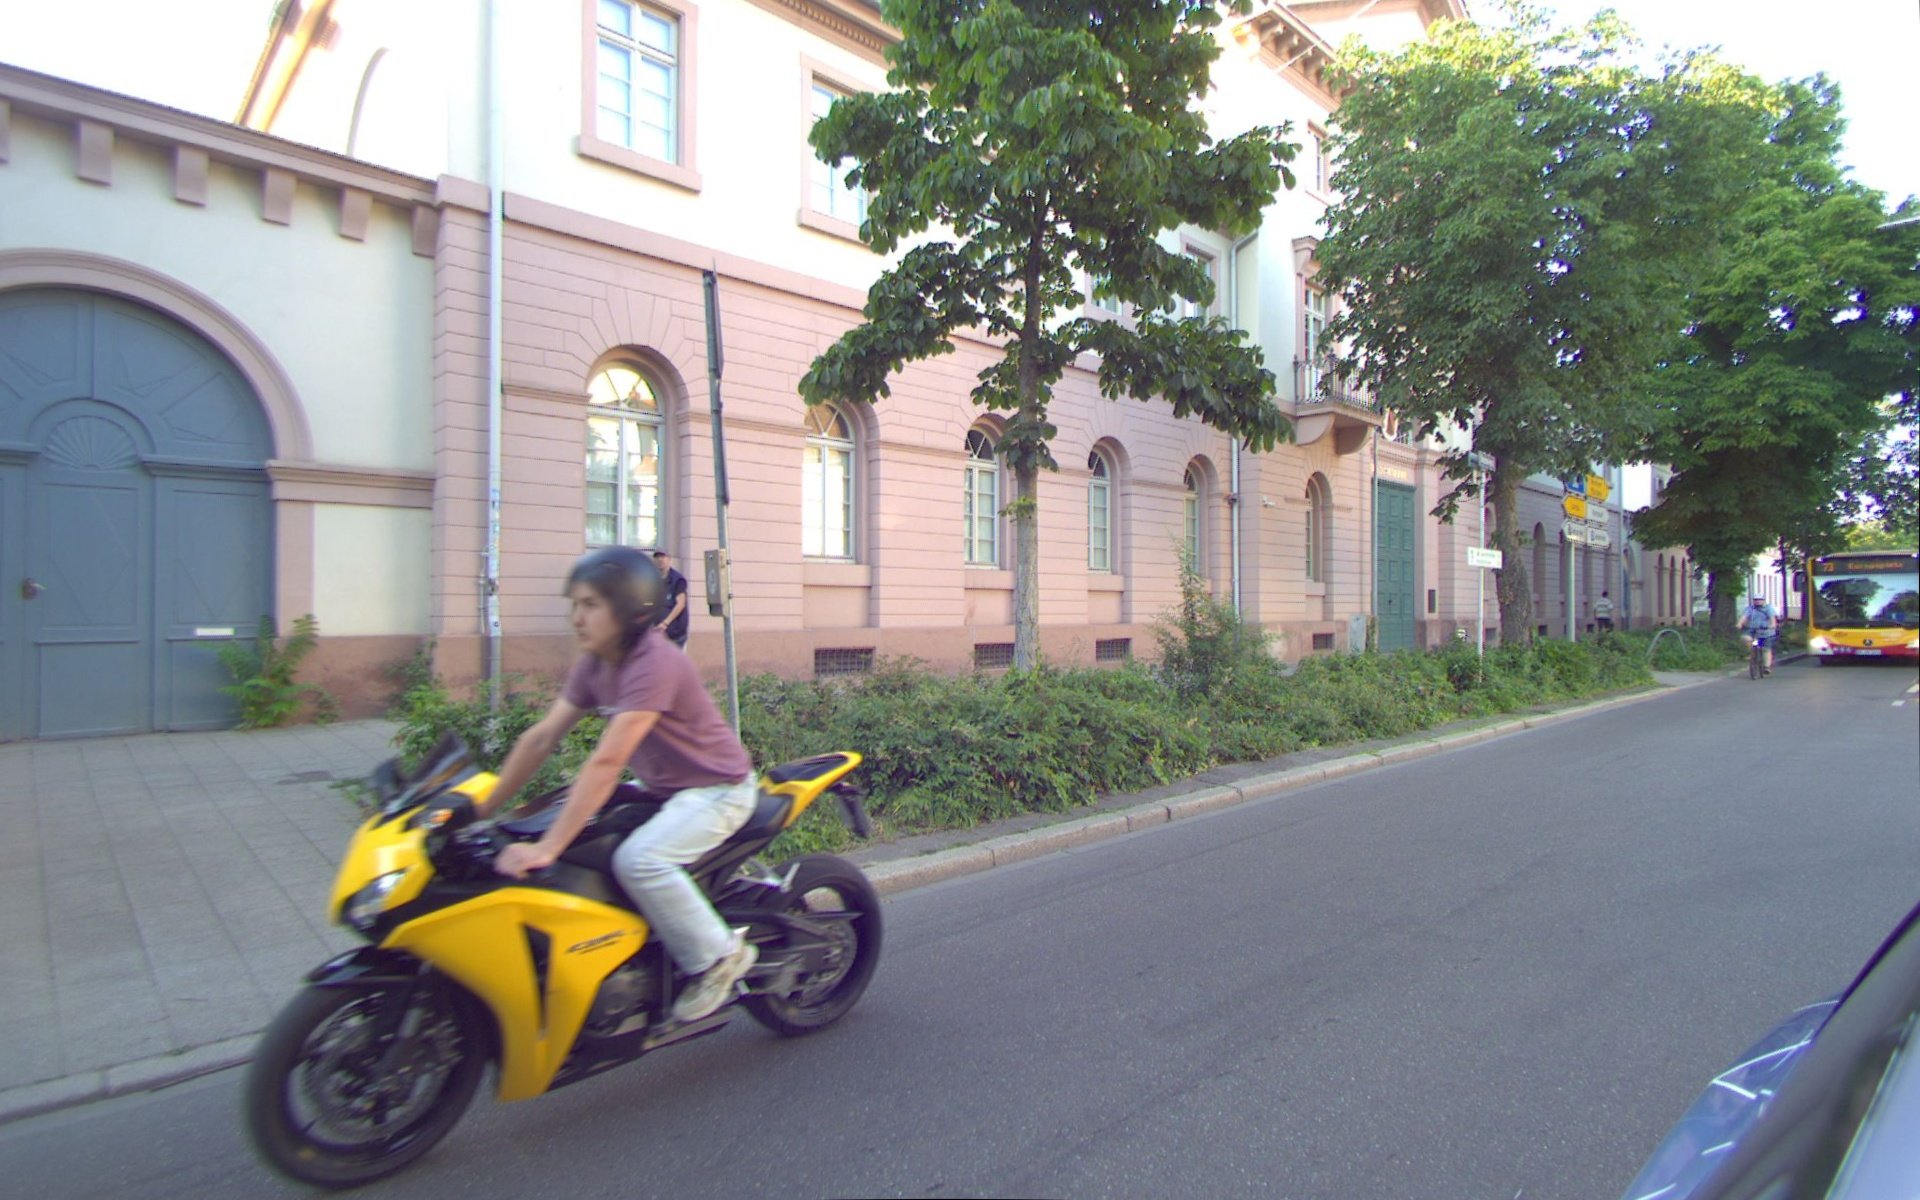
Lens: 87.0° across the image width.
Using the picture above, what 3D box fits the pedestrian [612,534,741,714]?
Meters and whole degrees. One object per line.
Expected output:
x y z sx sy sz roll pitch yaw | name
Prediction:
-3.114 0.239 11.139 0.797 1.862 1.067 3 1 40 | pedestrian

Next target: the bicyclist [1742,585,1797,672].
17.688 0.621 22.112 0.813 1.863 0.782 1 -3 -44 | bicyclist

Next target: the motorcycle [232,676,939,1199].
-1.025 0.888 3.176 0.790 1.175 1.936 -2 -2 43 | motorcycle

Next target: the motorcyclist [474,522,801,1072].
-1.022 0.523 3.186 0.790 1.438 0.688 -2 -2 43 | motorcyclist

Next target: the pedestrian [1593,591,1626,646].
22.501 0.623 35.052 0.798 1.855 0.914 0 -1 44 | pedestrian

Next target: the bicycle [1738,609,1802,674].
17.740 0.879 22.149 2.043 1.347 0.782 0 -2 -44 | bicycle

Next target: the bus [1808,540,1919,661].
27.923 0.054 30.149 11.880 3.039 2.706 0 -2 -44 | bus
